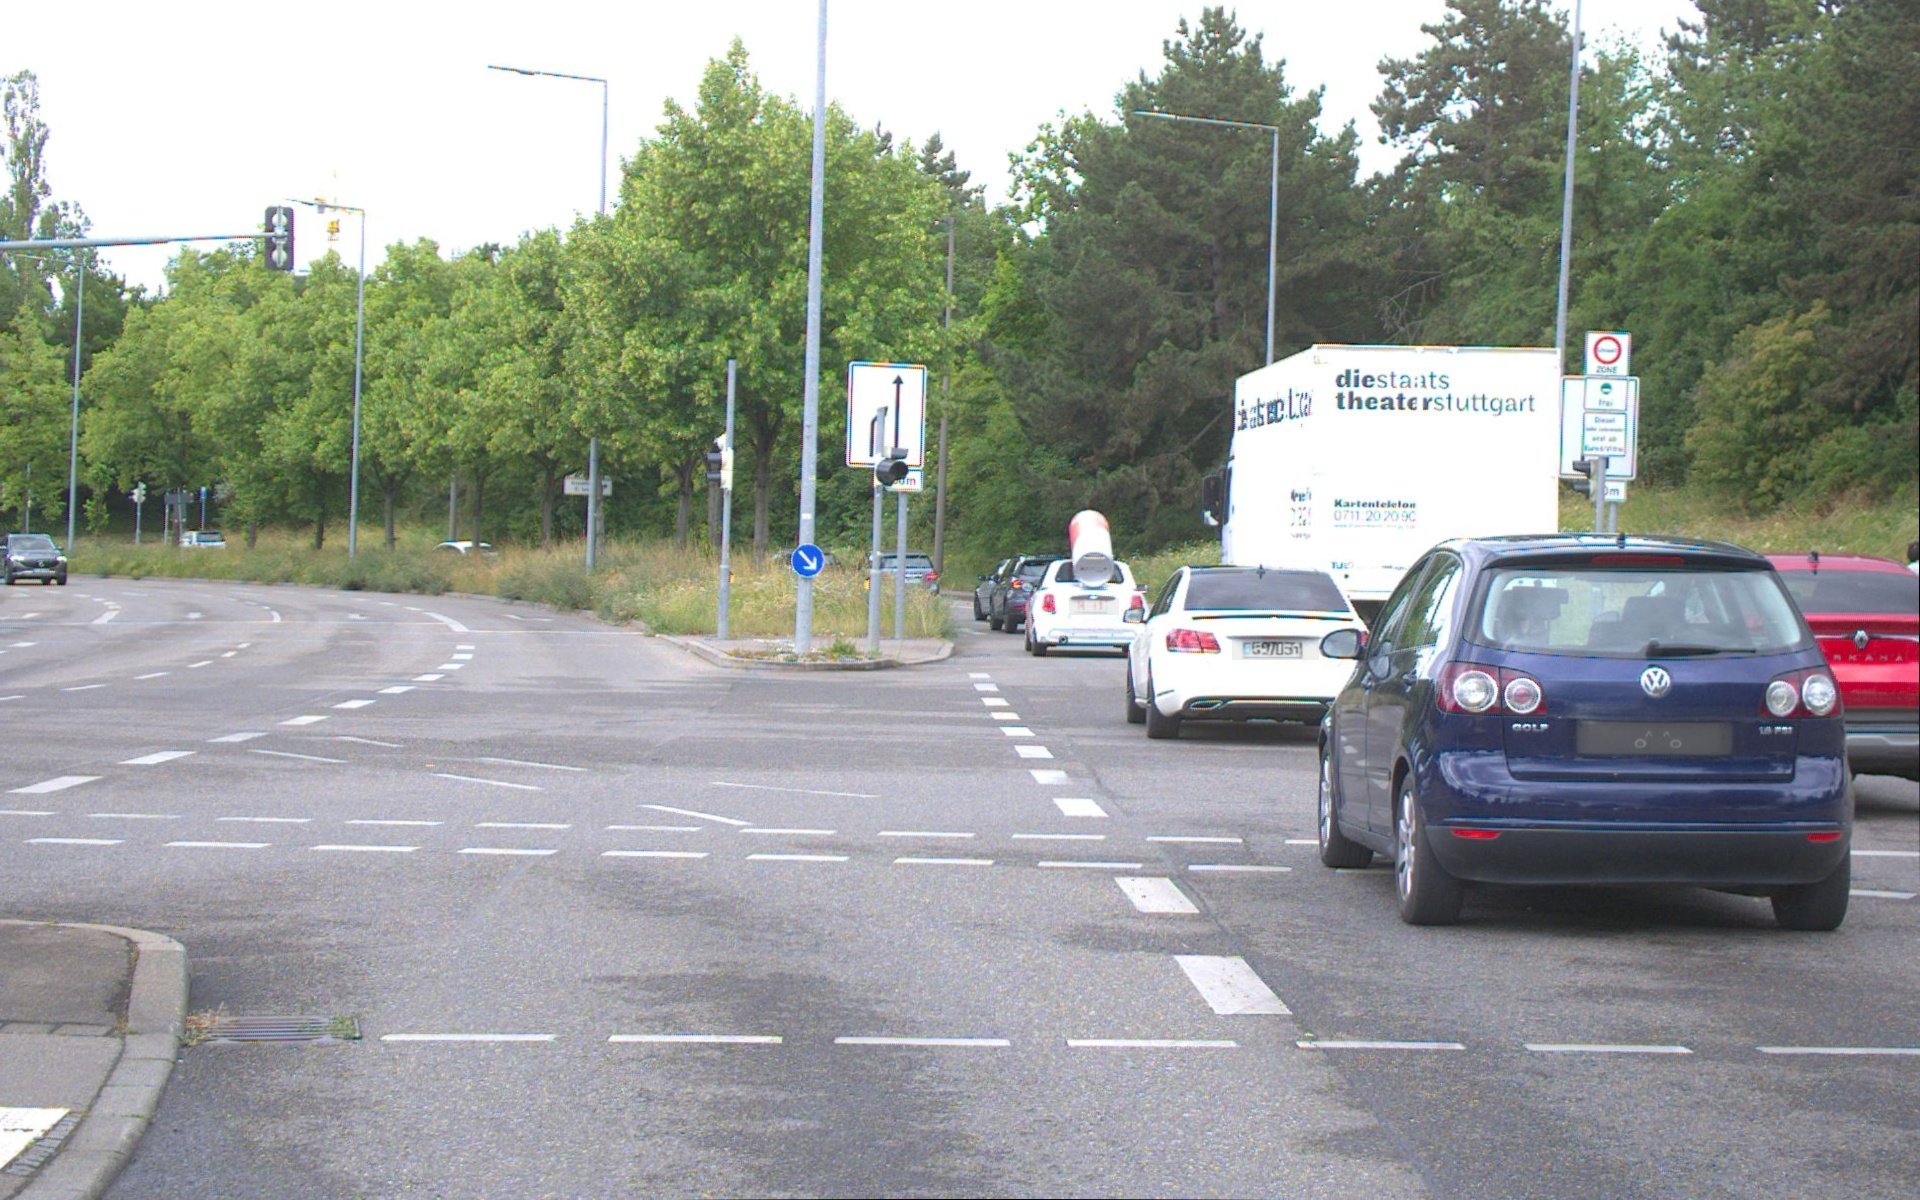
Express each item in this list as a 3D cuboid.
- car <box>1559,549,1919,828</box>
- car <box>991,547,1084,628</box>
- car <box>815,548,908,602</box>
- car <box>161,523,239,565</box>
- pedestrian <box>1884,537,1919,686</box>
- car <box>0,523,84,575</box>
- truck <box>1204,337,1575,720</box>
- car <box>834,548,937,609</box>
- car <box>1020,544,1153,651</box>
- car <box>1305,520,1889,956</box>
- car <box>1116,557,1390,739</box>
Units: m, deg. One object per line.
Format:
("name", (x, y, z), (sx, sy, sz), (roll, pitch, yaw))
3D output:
("car", (5.110, 0.471, 21.607), (1.847, 1.525, 4.377), (1, 1, -1))
("car", (1.481, -0.261, 67.044), (1.624, 1.488, 3.838), (1, 1, -1))
("car", (-2.915, -0.743, 101.004), (1.746, 1.503, 4.001), (1, 1, -17))
("car", (-31.758, -2.334, 143.625), (1.628, 1.705, 3.803), (0, 1, -40))
("pedestrian", (10.782, 0.132, 38.648), (0.644, 1.656, 0.713), (1, 0, 6))
("car", (-28.917, -1.593, 108.097), (1.794, 1.582, 4.001), (1, 1, -27))
("truck", (4.765, -0.852, 40.347), (2.802, 3.890, 10.183), (1, 1, -1))
("car", (-1.948, -0.582, 88.963), (1.746, 1.503, 4.049), (1, 1, -15))
("car", (1.843, -0.049, 50.900), (1.821, 1.501, 3.494), (1, 0, 0))
("car", (2.561, 0.494, 14.731), (1.664, 1.593, 3.997), (1, 0, -1))
("car", (2.408, 0.360, 29.220), (1.799, 1.407, 4.318), (1, 0, -2))
